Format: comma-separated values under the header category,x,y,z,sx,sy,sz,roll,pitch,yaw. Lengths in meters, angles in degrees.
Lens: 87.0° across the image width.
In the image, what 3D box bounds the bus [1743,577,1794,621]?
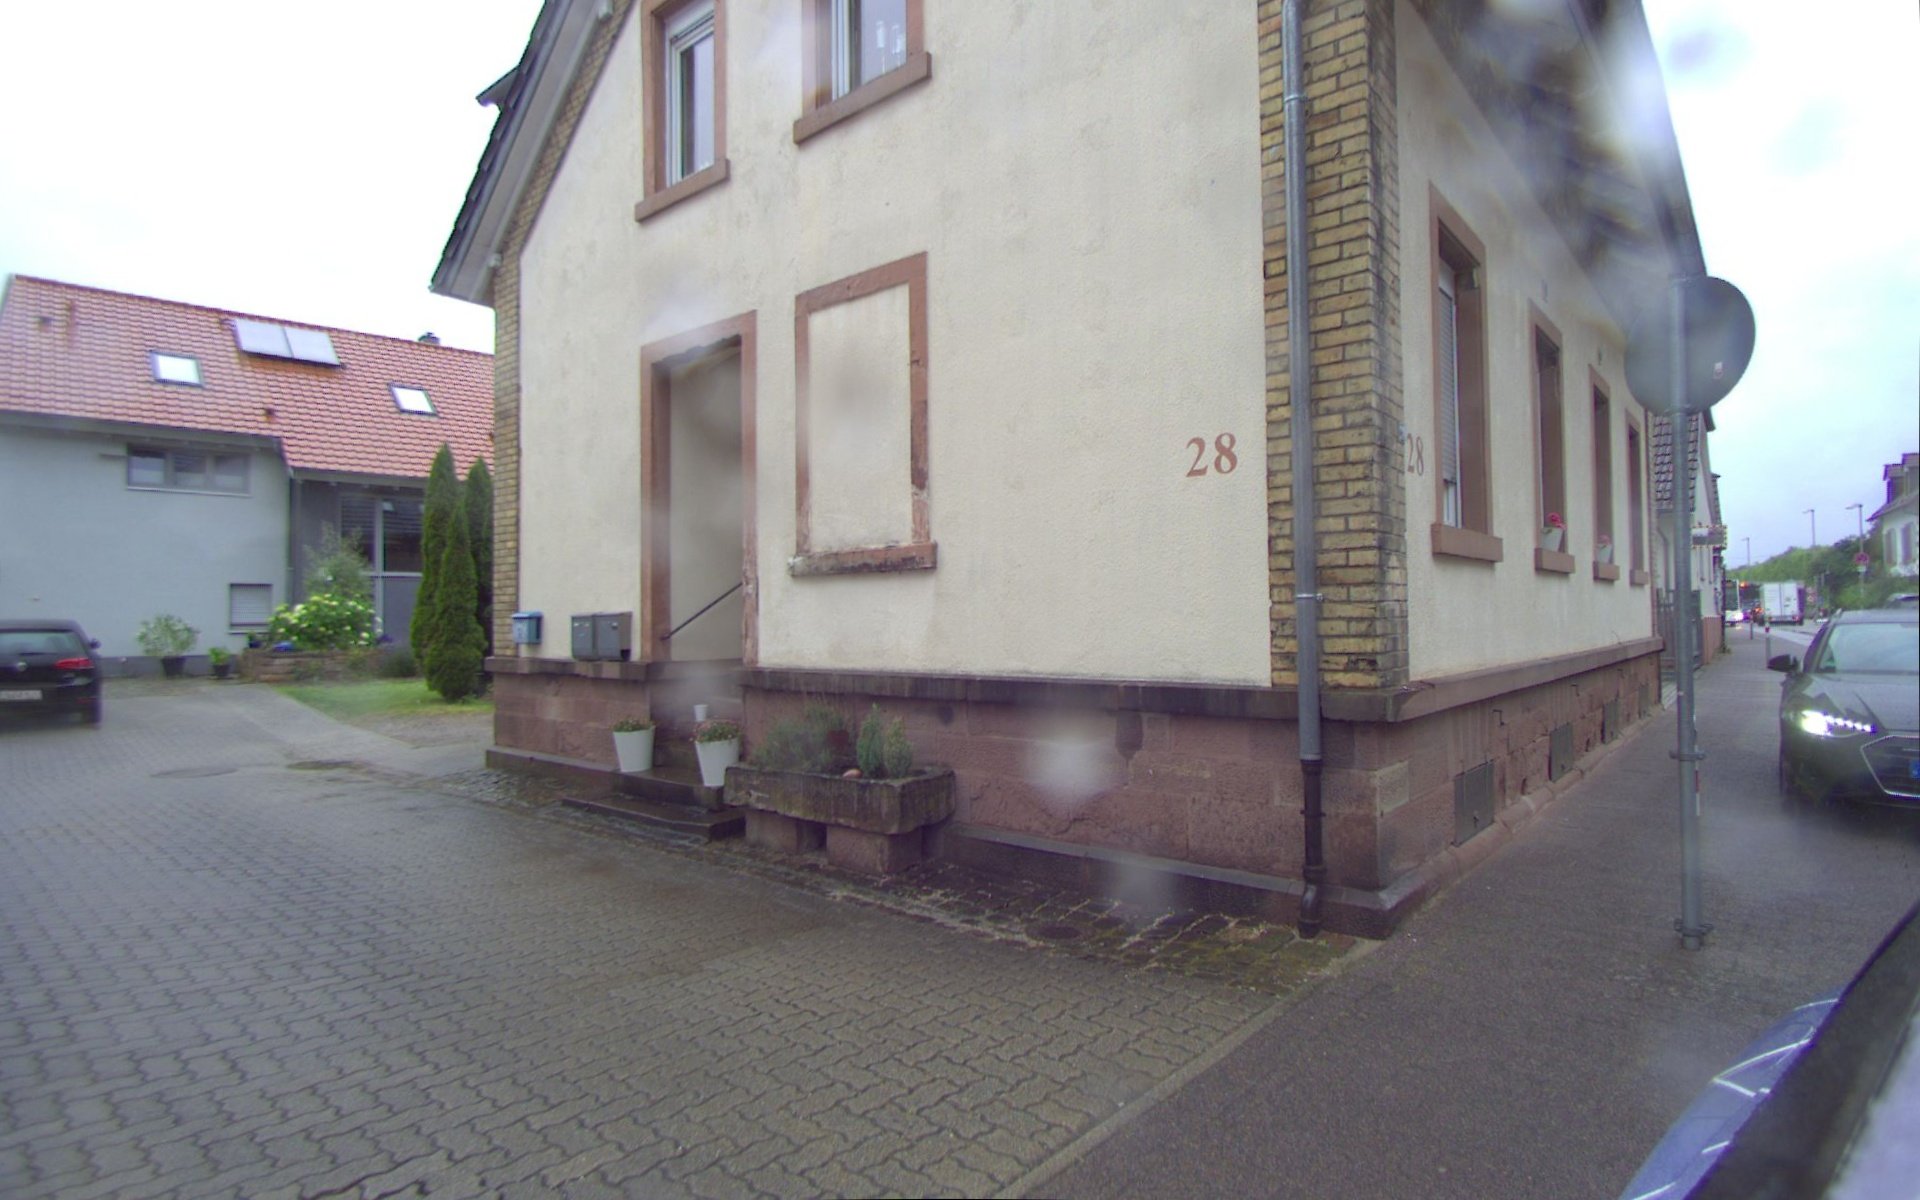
category,x,y,z,sx,sy,sz,roll,pitch,yaw
bus,64.262,-0.132,80.636,2.654,3.273,12.032,0,0,36

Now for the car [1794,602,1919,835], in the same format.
category,x,y,z,sx,sy,sz,roll,pitch,yaw
car,7.367,0.728,7.542,1.732,1.388,4.044,0,0,39

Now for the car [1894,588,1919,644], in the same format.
category,x,y,z,sx,sy,sz,roll,pitch,yaw
car,31.559,0.450,32.646,1.777,1.686,4.363,-3,-1,40

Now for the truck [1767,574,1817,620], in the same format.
category,x,y,z,sx,sy,sz,roll,pitch,yaw
truck,48.075,-0.205,58.559,1.989,2.536,5.575,0,0,37

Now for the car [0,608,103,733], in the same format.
category,x,y,z,sx,sy,sz,roll,pitch,yaw
car,-13.947,0.950,15.111,1.655,1.491,3.993,0,2,-42

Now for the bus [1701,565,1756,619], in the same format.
category,x,y,z,sx,sy,sz,roll,pitch,yaw
bus,50.970,-0.540,67.316,2.654,3.273,12.032,0,0,36
